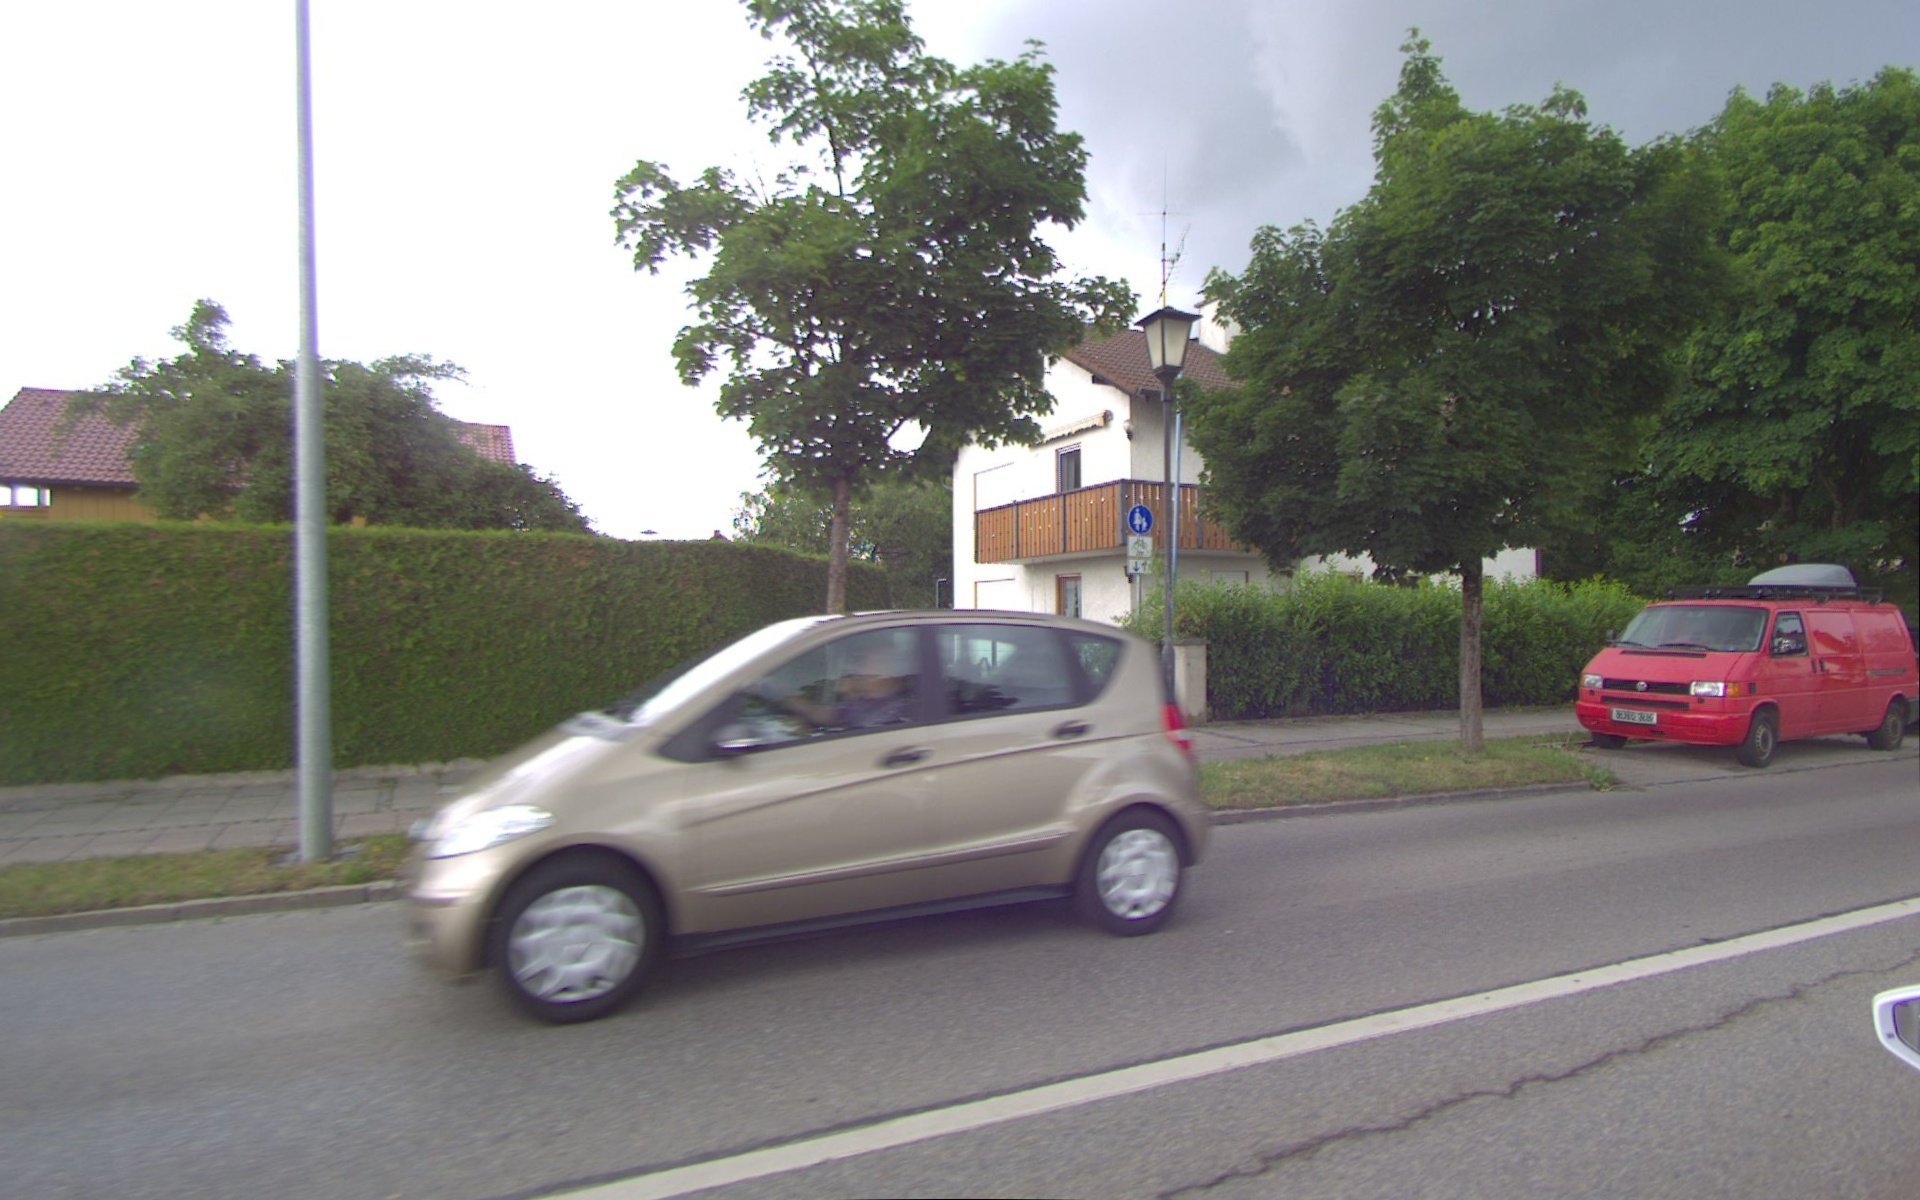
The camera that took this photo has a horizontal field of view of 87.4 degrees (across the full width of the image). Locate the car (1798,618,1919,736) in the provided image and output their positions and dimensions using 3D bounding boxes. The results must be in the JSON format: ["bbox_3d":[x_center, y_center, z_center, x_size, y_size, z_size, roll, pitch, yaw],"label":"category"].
[{"bbox_3d":[15.081,1.118,15.622,4.186,1.619,1.764,0,0,-29],"label":"car"}]

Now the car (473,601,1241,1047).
[{"bbox_3d":[-0.513,0.831,5.060,3.461,1.552,1.702,0,-3,-26],"label":"car"}]

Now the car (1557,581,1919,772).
[{"bbox_3d":[10.006,0.834,12.800,4.983,2.057,1.822,1,1,-29],"label":"car"}]
